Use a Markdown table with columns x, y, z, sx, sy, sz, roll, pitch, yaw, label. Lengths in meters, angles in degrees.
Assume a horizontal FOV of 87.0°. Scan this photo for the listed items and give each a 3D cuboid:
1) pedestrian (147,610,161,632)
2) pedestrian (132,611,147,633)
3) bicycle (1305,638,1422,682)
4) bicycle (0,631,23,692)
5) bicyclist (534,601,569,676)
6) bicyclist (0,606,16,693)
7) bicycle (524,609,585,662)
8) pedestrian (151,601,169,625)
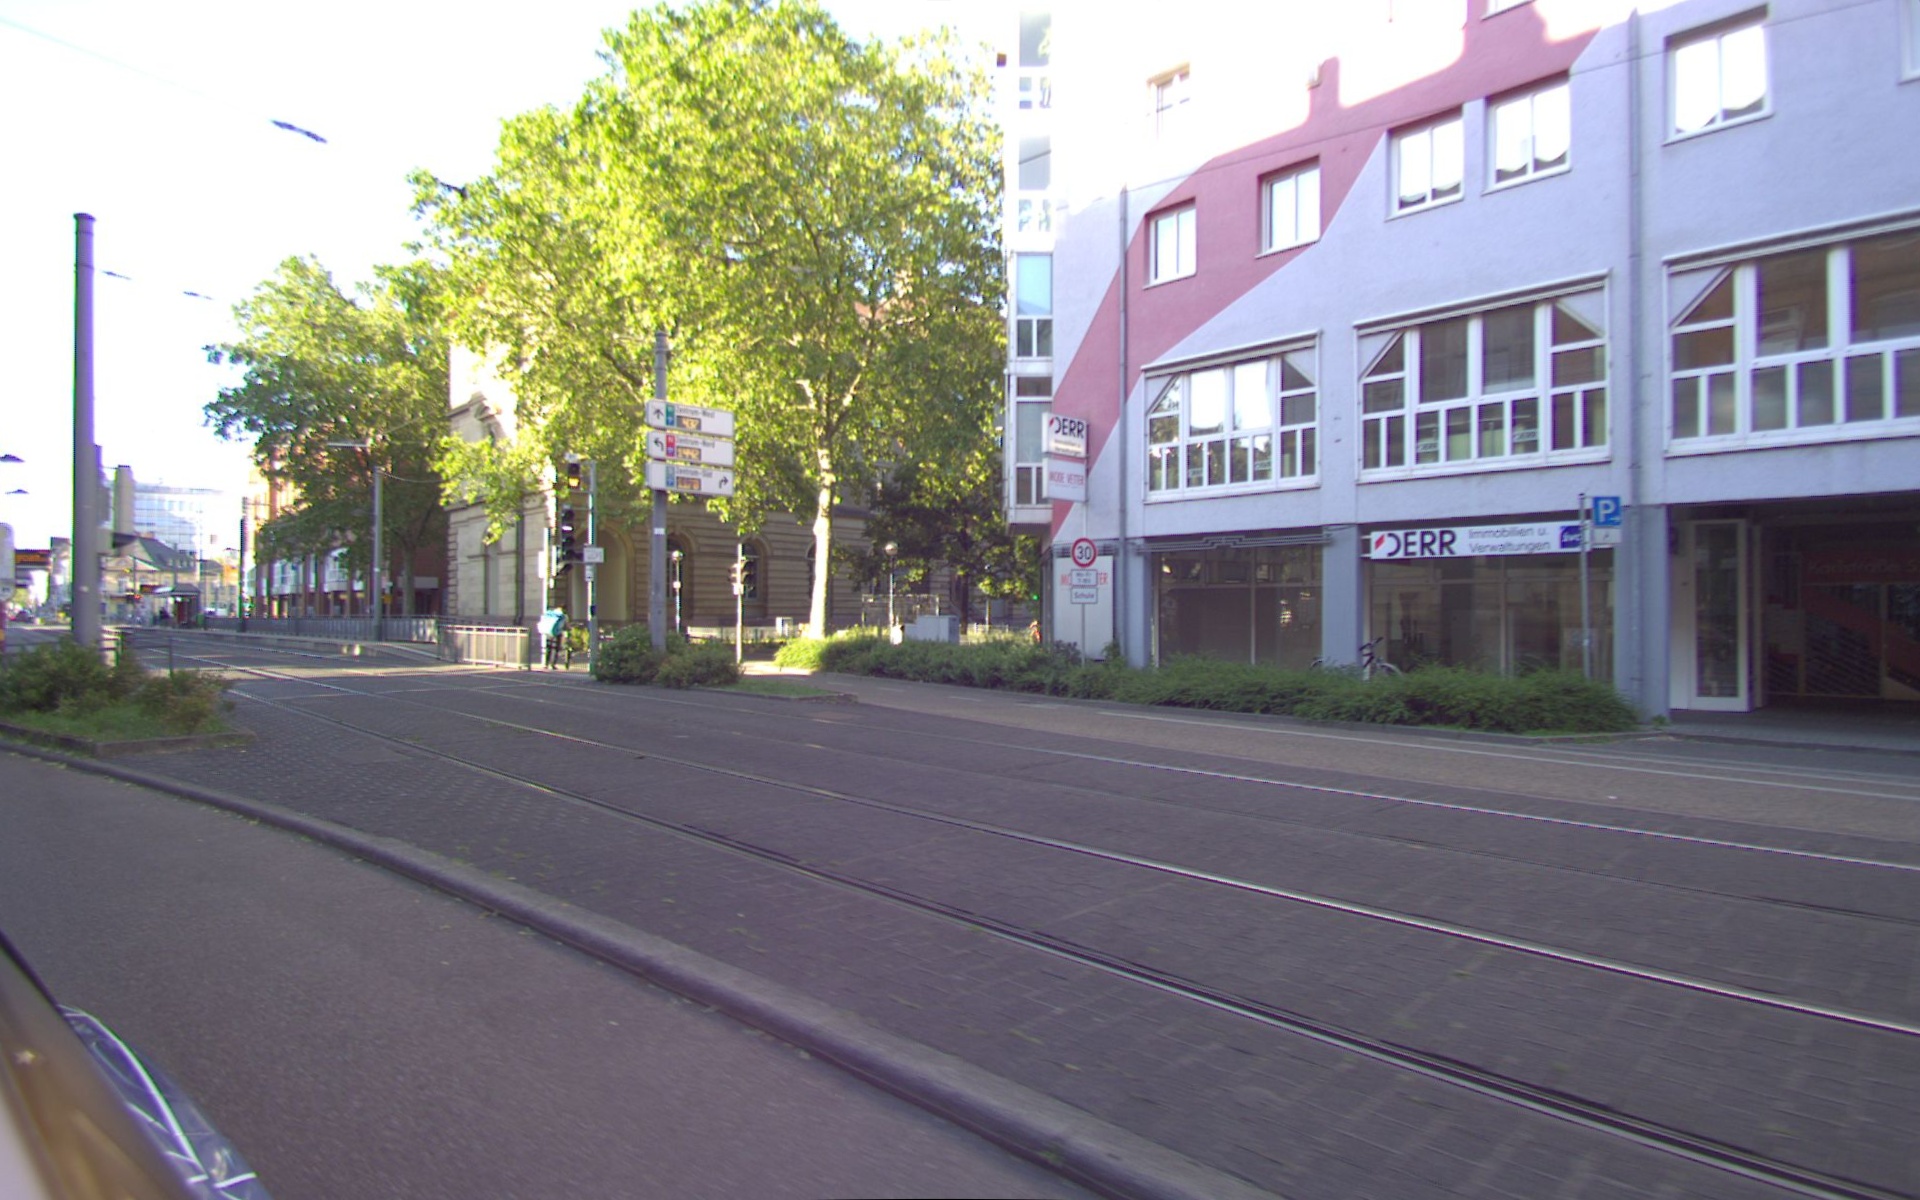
| x | y | z | sx | sy | sz | roll | pitch | yaw | label |
| --- | --- | --- | --- | --- | --- | --- | --- | --- | --- |
| -67.396 | 1.785 | 84.609 | 0.847 | 1.780 | 0.813 | -3 | 2 | -36 | pedestrian |
| -68.123 | 1.845 | 84.071 | 0.847 | 1.780 | 0.813 | -3 | 2 | -35 | pedestrian |
| 6.911 | 1.020 | 17.378 | 1.809 | 0.663 | 0.451 | -1 | 2 | 41 | bicycle |
| -18.099 | 1.131 | 18.795 | 1.894 | 1.085 | 0.577 | -1 | 2 | 34 | bicycle |
| -9.496 | 0.888 | 23.549 | 0.526 | 1.725 | 0.745 | 0 | 0 | 0 | bicyclist |
| -17.912 | 0.912 | 18.663 | 0.742 | 1.590 | 0.528 | -1 | -1 | 29 | bicyclist |
| -9.478 | 0.809 | 23.718 | 0.576 | 1.085 | 1.899 | -2 | 2 | 2 | bicycle |
| -56.843 | 0.917 | 71.867 | 0.968 | 1.674 | 0.901 | 0 | 0 | 45 | pedestrian |
